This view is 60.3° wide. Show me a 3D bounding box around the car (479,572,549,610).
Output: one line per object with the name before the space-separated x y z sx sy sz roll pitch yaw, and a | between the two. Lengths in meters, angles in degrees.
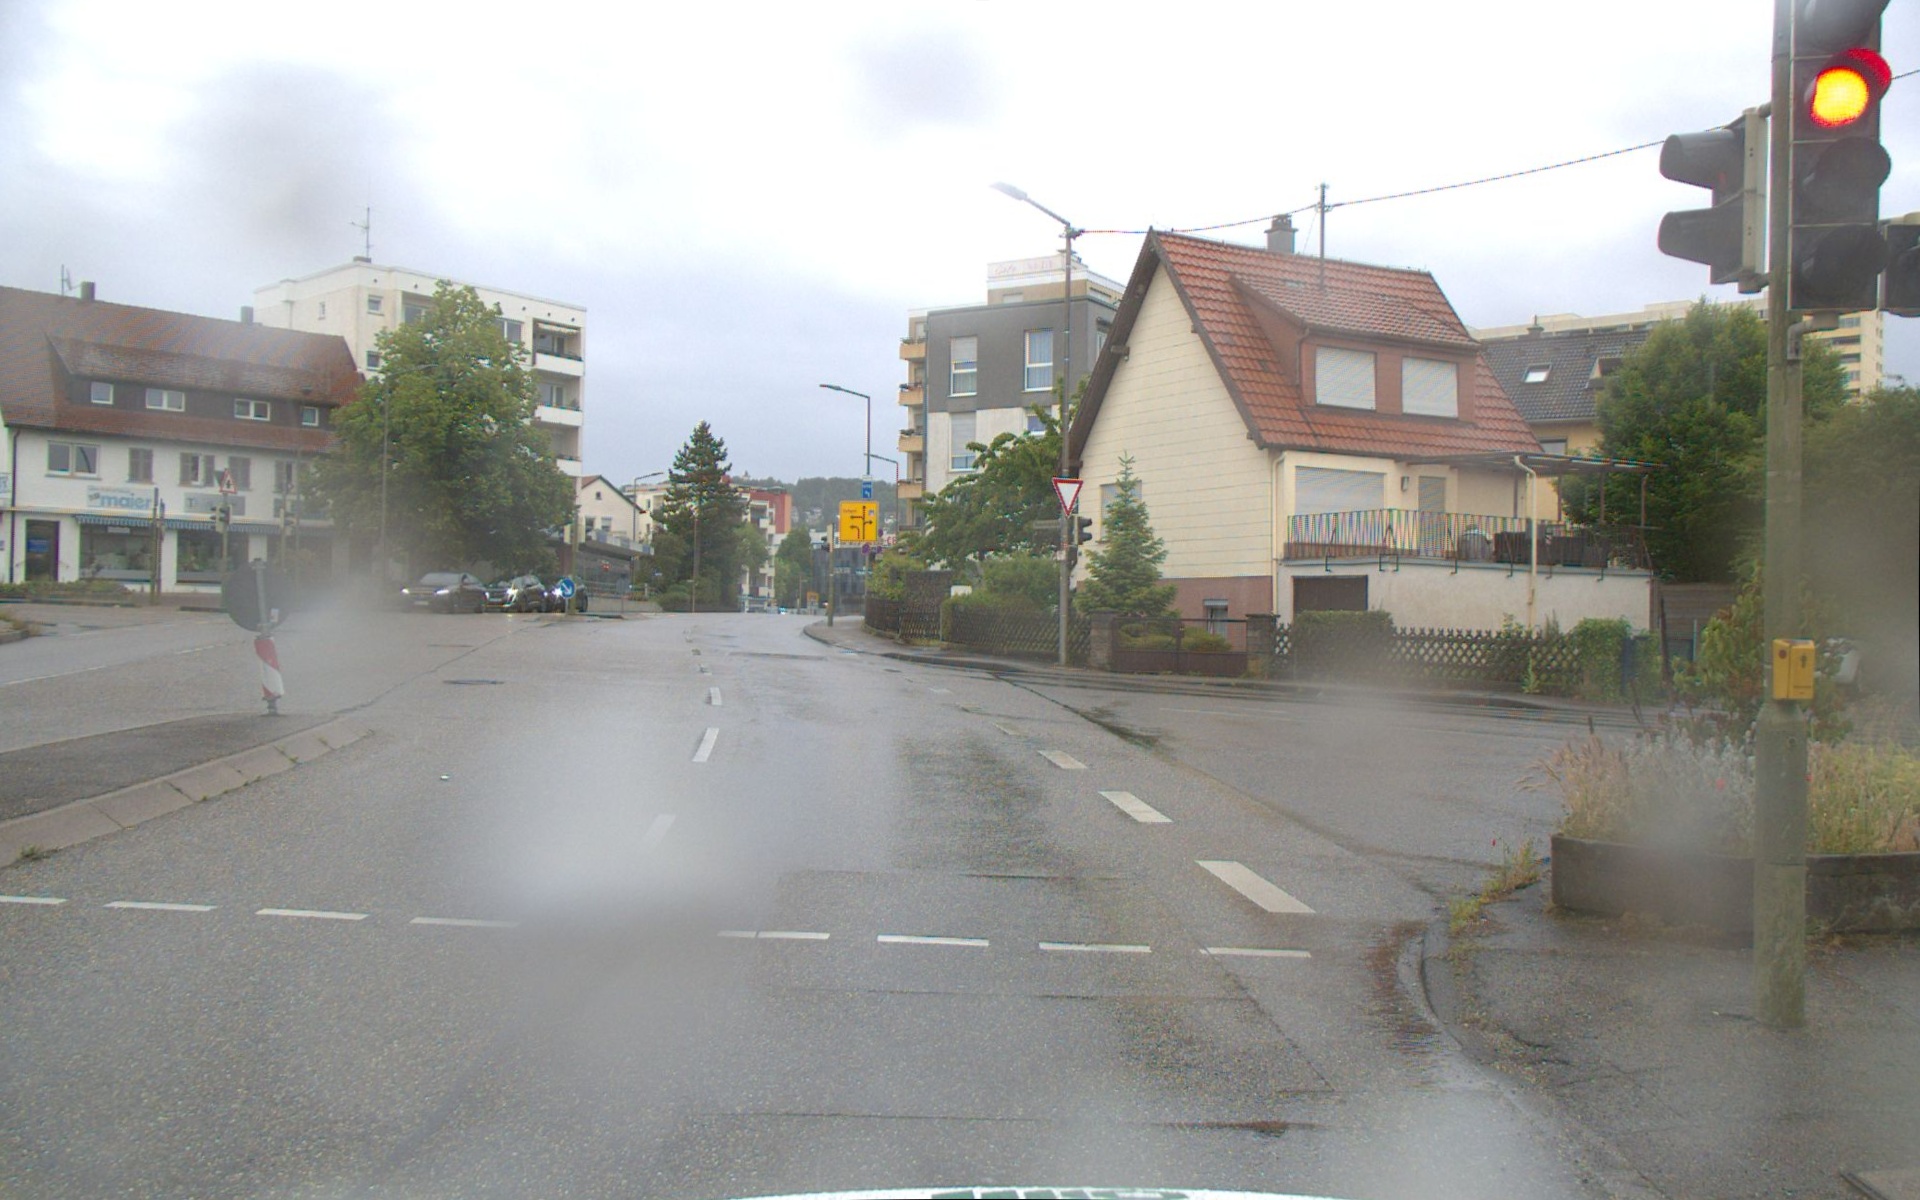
car | -17.581 -0.363 65.348 1.680 1.411 4.020 1 1 -1

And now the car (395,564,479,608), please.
car | -18.254 -0.487 57.922 1.742 1.445 3.830 1 1 -1

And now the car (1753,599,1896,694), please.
car | 15.618 0.783 29.796 1.710 1.541 3.985 1 1 36

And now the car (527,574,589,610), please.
car | -17.263 -0.351 71.150 1.742 1.445 3.830 1 1 -1
